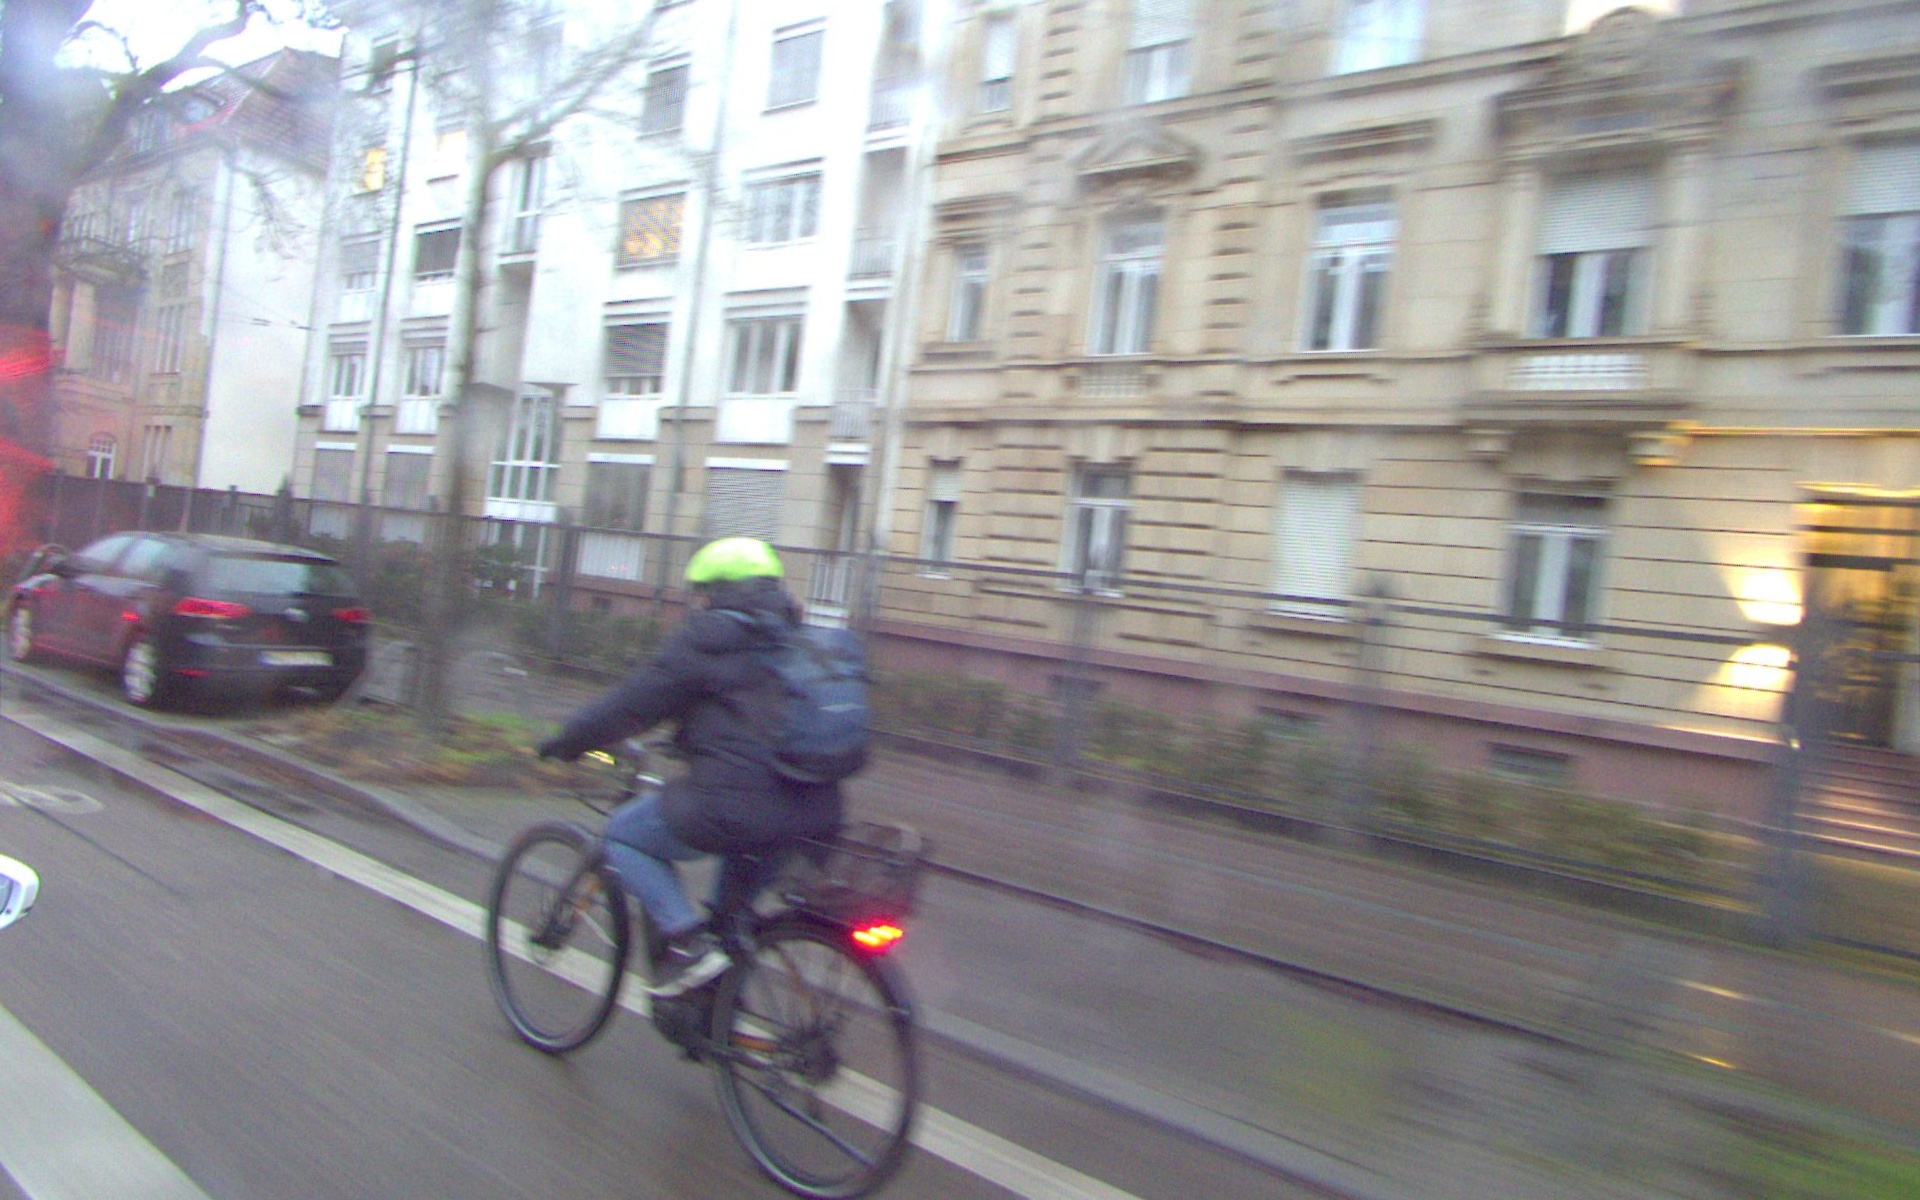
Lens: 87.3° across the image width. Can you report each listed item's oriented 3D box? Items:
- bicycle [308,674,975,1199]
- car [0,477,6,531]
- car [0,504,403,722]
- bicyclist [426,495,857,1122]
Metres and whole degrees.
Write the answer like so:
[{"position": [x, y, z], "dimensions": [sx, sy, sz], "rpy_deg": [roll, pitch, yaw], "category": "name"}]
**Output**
[{"position": [-1.040, 0.927, 2.983], "dimensions": [1.997, 1.110, 0.708], "rpy_deg": [8, 1, 35], "category": "bicycle"}, {"position": [-17.049, -1.240, 15.533], "dimensions": [4.942, 1.924, 1.996], "rpy_deg": [8, 0, 31], "category": "car"}, {"position": [-7.326, 0.066, 9.560], "dimensions": [3.974, 1.478, 1.680], "rpy_deg": [7, 0, 31], "category": "car"}, {"position": [-0.914, 0.501, 2.898], "dimensions": [0.836, 1.464, 0.656], "rpy_deg": [8, 1, 35], "category": "bicyclist"}]
